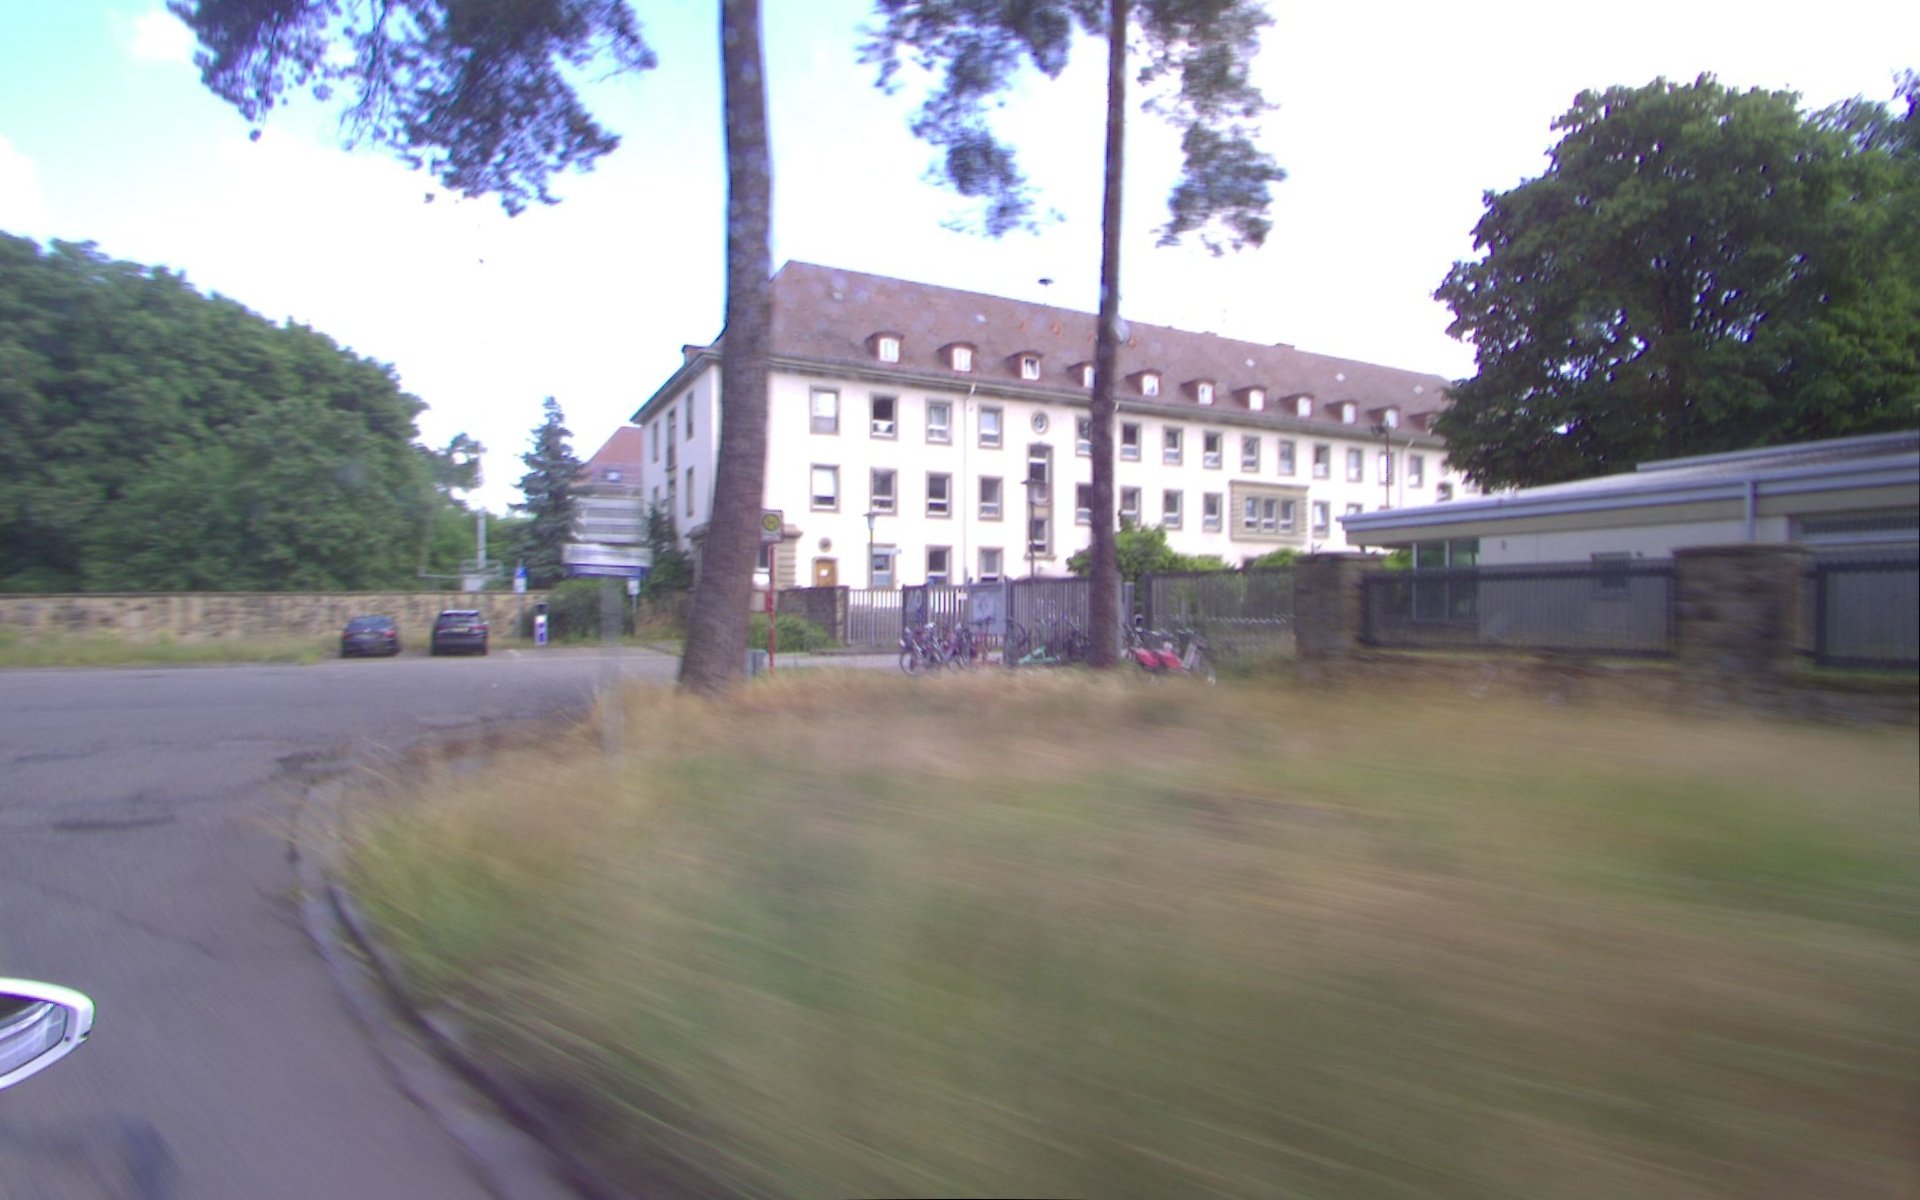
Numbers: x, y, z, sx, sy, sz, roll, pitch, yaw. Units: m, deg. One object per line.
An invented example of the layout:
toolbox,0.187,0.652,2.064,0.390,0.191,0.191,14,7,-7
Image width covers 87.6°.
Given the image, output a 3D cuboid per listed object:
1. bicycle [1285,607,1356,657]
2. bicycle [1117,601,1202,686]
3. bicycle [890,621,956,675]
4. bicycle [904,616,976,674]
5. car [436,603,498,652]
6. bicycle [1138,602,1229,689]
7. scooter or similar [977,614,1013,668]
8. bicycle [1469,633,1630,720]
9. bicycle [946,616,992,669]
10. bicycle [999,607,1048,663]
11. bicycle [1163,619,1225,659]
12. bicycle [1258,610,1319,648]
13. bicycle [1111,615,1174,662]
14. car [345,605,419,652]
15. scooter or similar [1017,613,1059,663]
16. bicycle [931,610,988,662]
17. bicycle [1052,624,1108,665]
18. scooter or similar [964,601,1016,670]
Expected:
bicycle,8.916,0.794,24.783,1.693,1.186,0.435,2,-1,-15
bicycle,3.630,0.758,18.170,1.780,1.436,0.583,-1,1,-43
bicycle,-0.800,0.994,21.178,0.730,1.098,1.675,2,-1,-29
bicycle,-0.475,0.991,22.795,0.626,1.256,2.162,-1,-1,-31
car,-17.704,0.939,36.078,1.870,1.567,3.983,0,1,-25
bicycle,3.966,0.766,17.657,1.962,1.436,0.573,-1,1,-43
scooter or similar,0.828,0.962,23.905,0.380,1.262,1.281,0,-1,-20
bicycle,7.724,0.968,13.227,0.368,1.030,1.944,0,0,-27
bicycle,0.198,0.982,23.615,0.611,1.178,1.608,-1,0,-16
bicycle,1.675,0.922,26.575,0.507,1.435,1.901,1,-1,-22
bicycle,6.435,1.061,27.499,1.570,1.071,0.729,0,0,-28
bicycle,9.542,0.830,29.119,1.688,1.086,0.729,0,0,-28
bicycle,4.911,1.018,26.919,1.690,1.186,0.500,-1,0,-28
car,-20.337,0.965,35.369,1.849,1.461,3.984,0,1,-24
scooter or similar,1.887,0.895,24.193,0.432,1.166,1.244,1,1,35
bicycle,-0.026,0.927,25.883,0.663,1.294,1.731,0,-1,-31
bicycle,3.023,1.098,25.399,0.450,0.981,1.944,0,0,-25
scooter or similar,0.549,0.669,18.688,0.432,1.243,1.084,1,-2,-32
